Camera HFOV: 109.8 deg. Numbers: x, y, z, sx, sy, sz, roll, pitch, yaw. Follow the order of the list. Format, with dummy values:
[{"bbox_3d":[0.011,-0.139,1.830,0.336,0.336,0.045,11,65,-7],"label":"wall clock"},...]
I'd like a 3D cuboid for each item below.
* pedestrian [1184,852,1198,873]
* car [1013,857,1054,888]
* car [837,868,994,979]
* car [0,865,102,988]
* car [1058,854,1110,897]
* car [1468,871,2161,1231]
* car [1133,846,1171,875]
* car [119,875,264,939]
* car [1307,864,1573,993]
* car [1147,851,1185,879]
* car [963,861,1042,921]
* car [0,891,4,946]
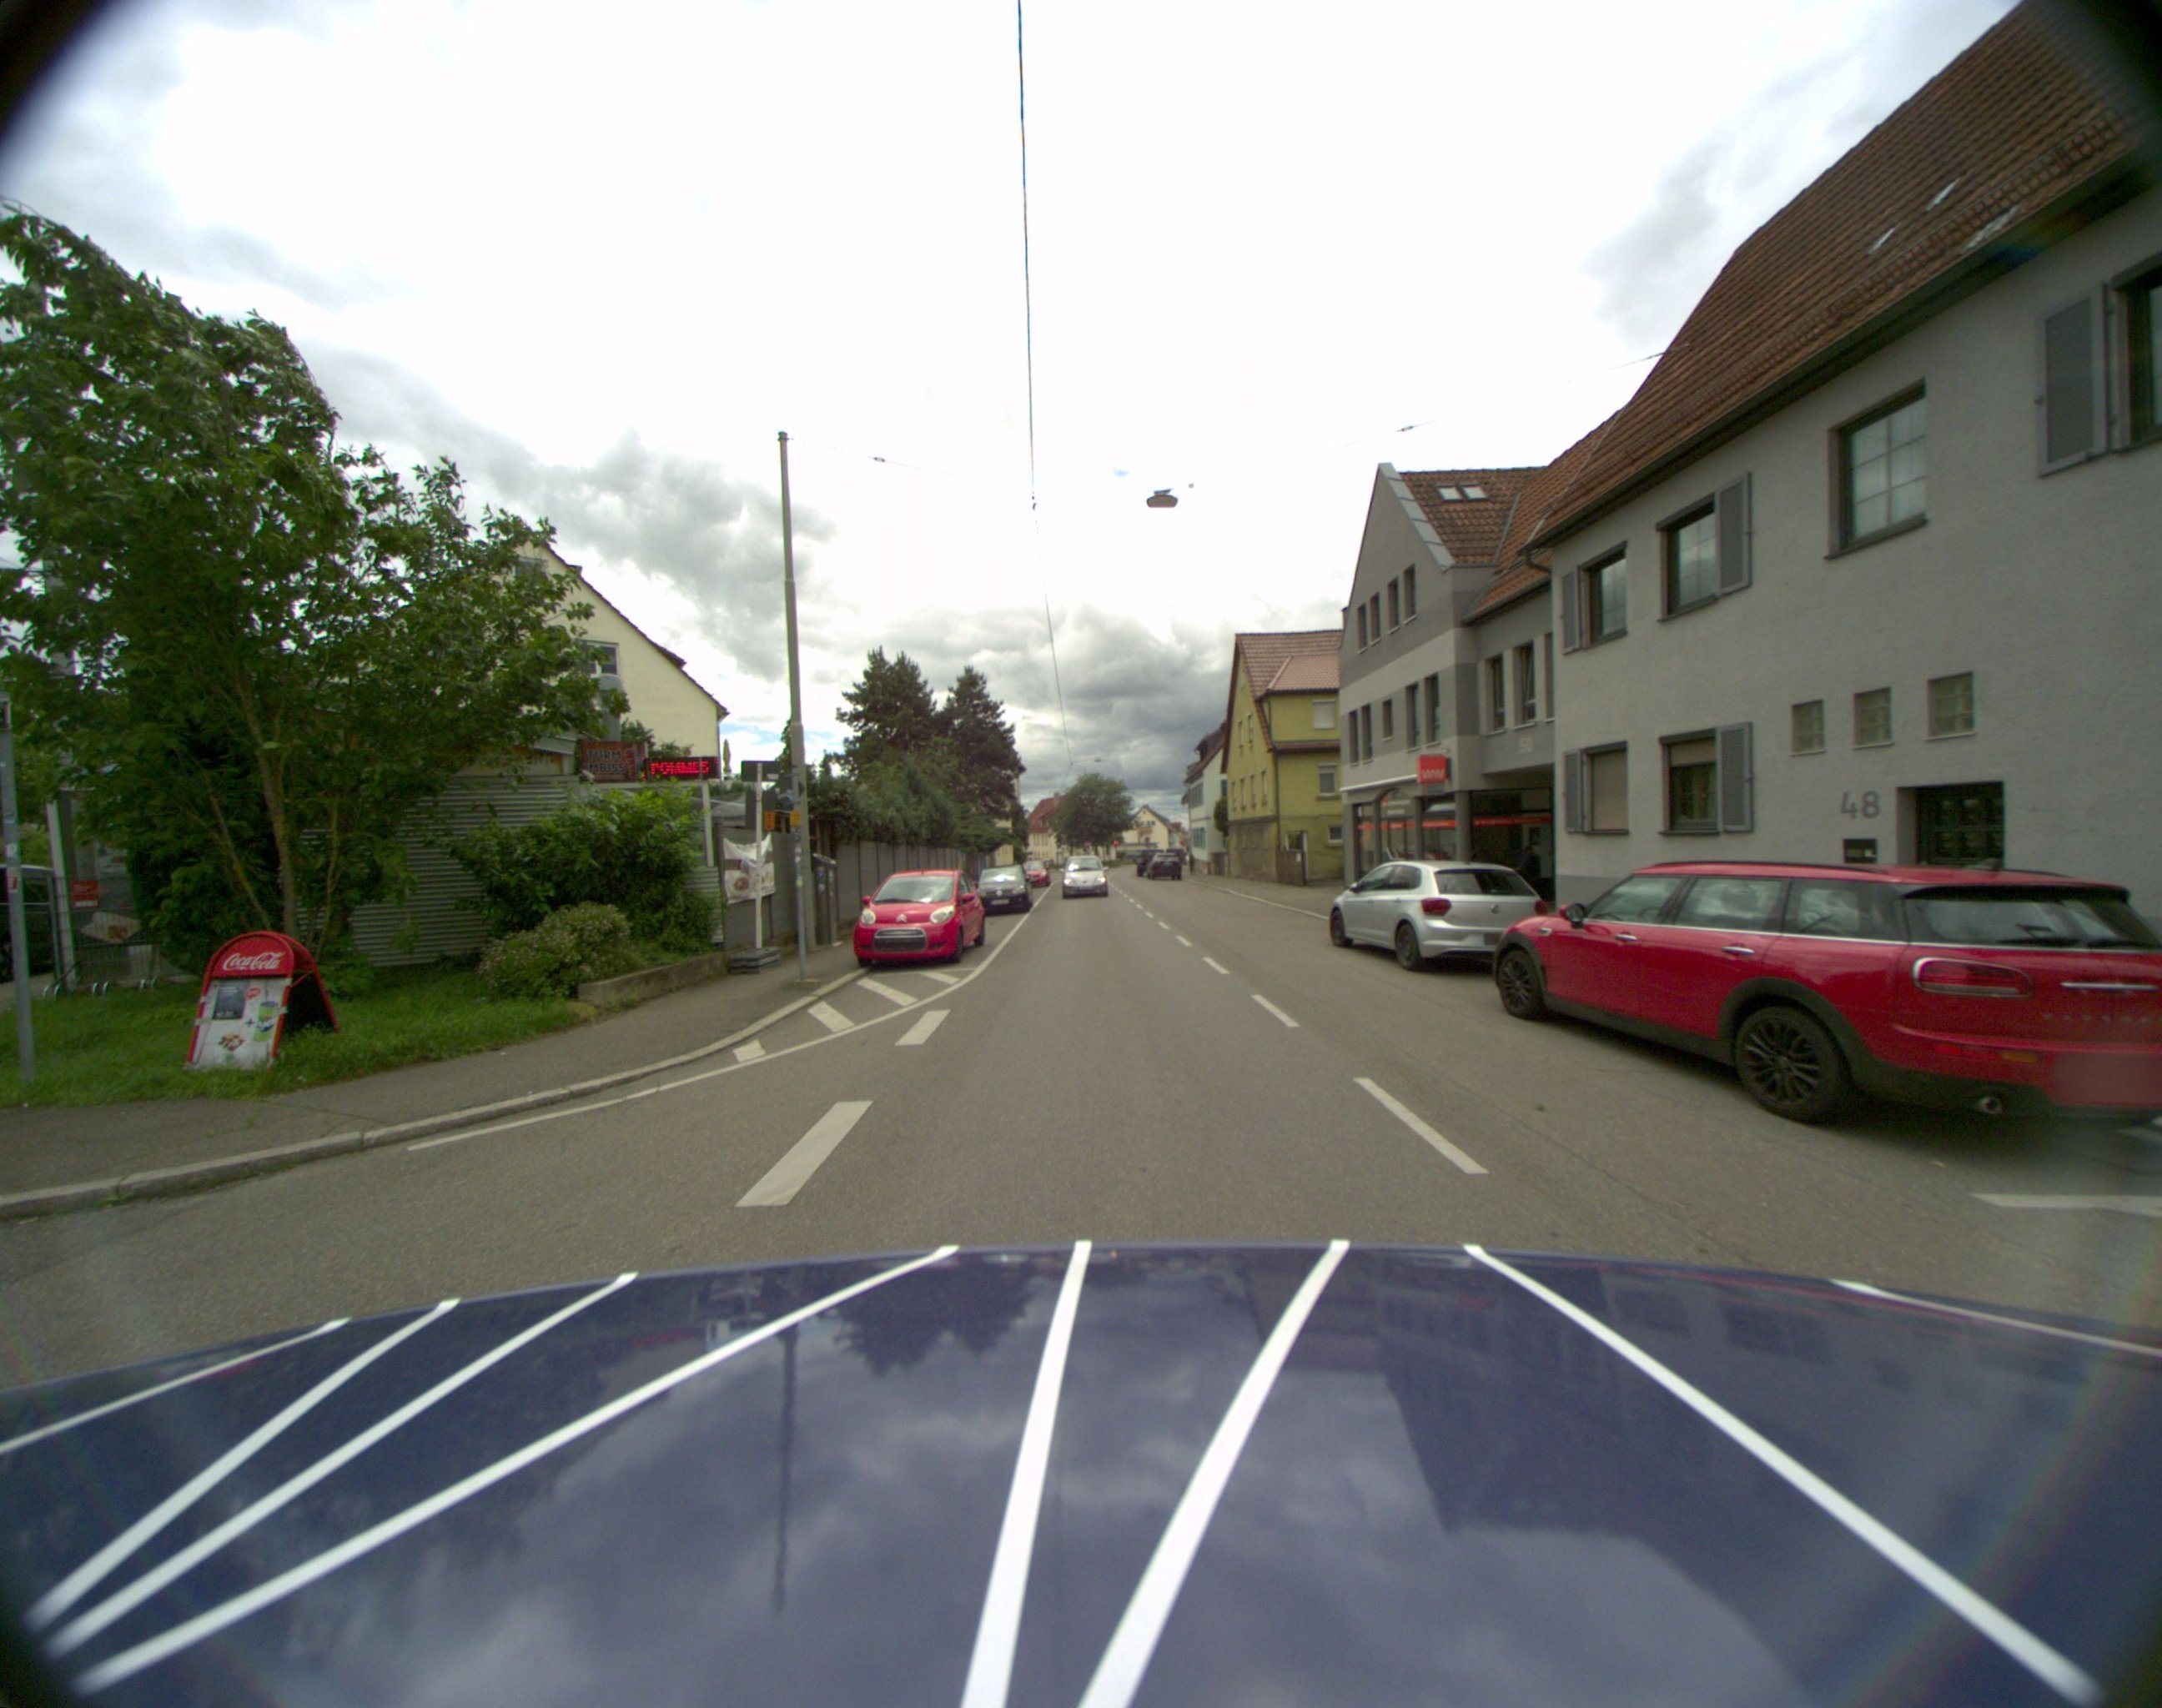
[{"bbox_3d":[7.299,0.589,50.477,0.832,1.368,0.551,-2,1,1],"label":"pedestrian"},{"bbox_3d":[-2.657,0.999,43.478,1.995,1.490,4.351,-4,0,-1],"label":"car"},{"bbox_3d":[-2.644,1.058,13.107,1.719,1.472,4.000,-2,0,1],"label":"car"},{"bbox_3d":[-18.210,1.138,12.178,2.004,1.866,4.381,-2,1,-38],"label":"car"},{"bbox_3d":[0.094,0.807,30.266,1.858,1.547,4.351,-1,0,-1],"label":"car"},{"bbox_3d":[4.810,0.918,5.499,1.863,1.465,4.352,1,0,1],"label":"car"},{"bbox_3d":[4.867,0.428,52.585,2.112,1.838,4.351,-1,0,-1],"label":"car"},{"bbox_3d":[-27.444,1.546,23.634,2.004,1.663,4.381,-2,1,-38],"label":"car"},{"bbox_3d":[4.943,0.918,11.250,1.782,1.465,4.351,0,0,-1],"label":"car"},{"bbox_3d":[5.074,0.645,45.970,1.718,1.559,4.351,-1,0,-1],"label":"car"},{"bbox_3d":[-2.339,1.071,23.615,1.819,1.472,4.000,-5,0,1],"label":"car"},{"bbox_3d":[-31.057,1.878,19.968,2.004,1.595,4.381,-2,1,-39],"label":"car"}]
